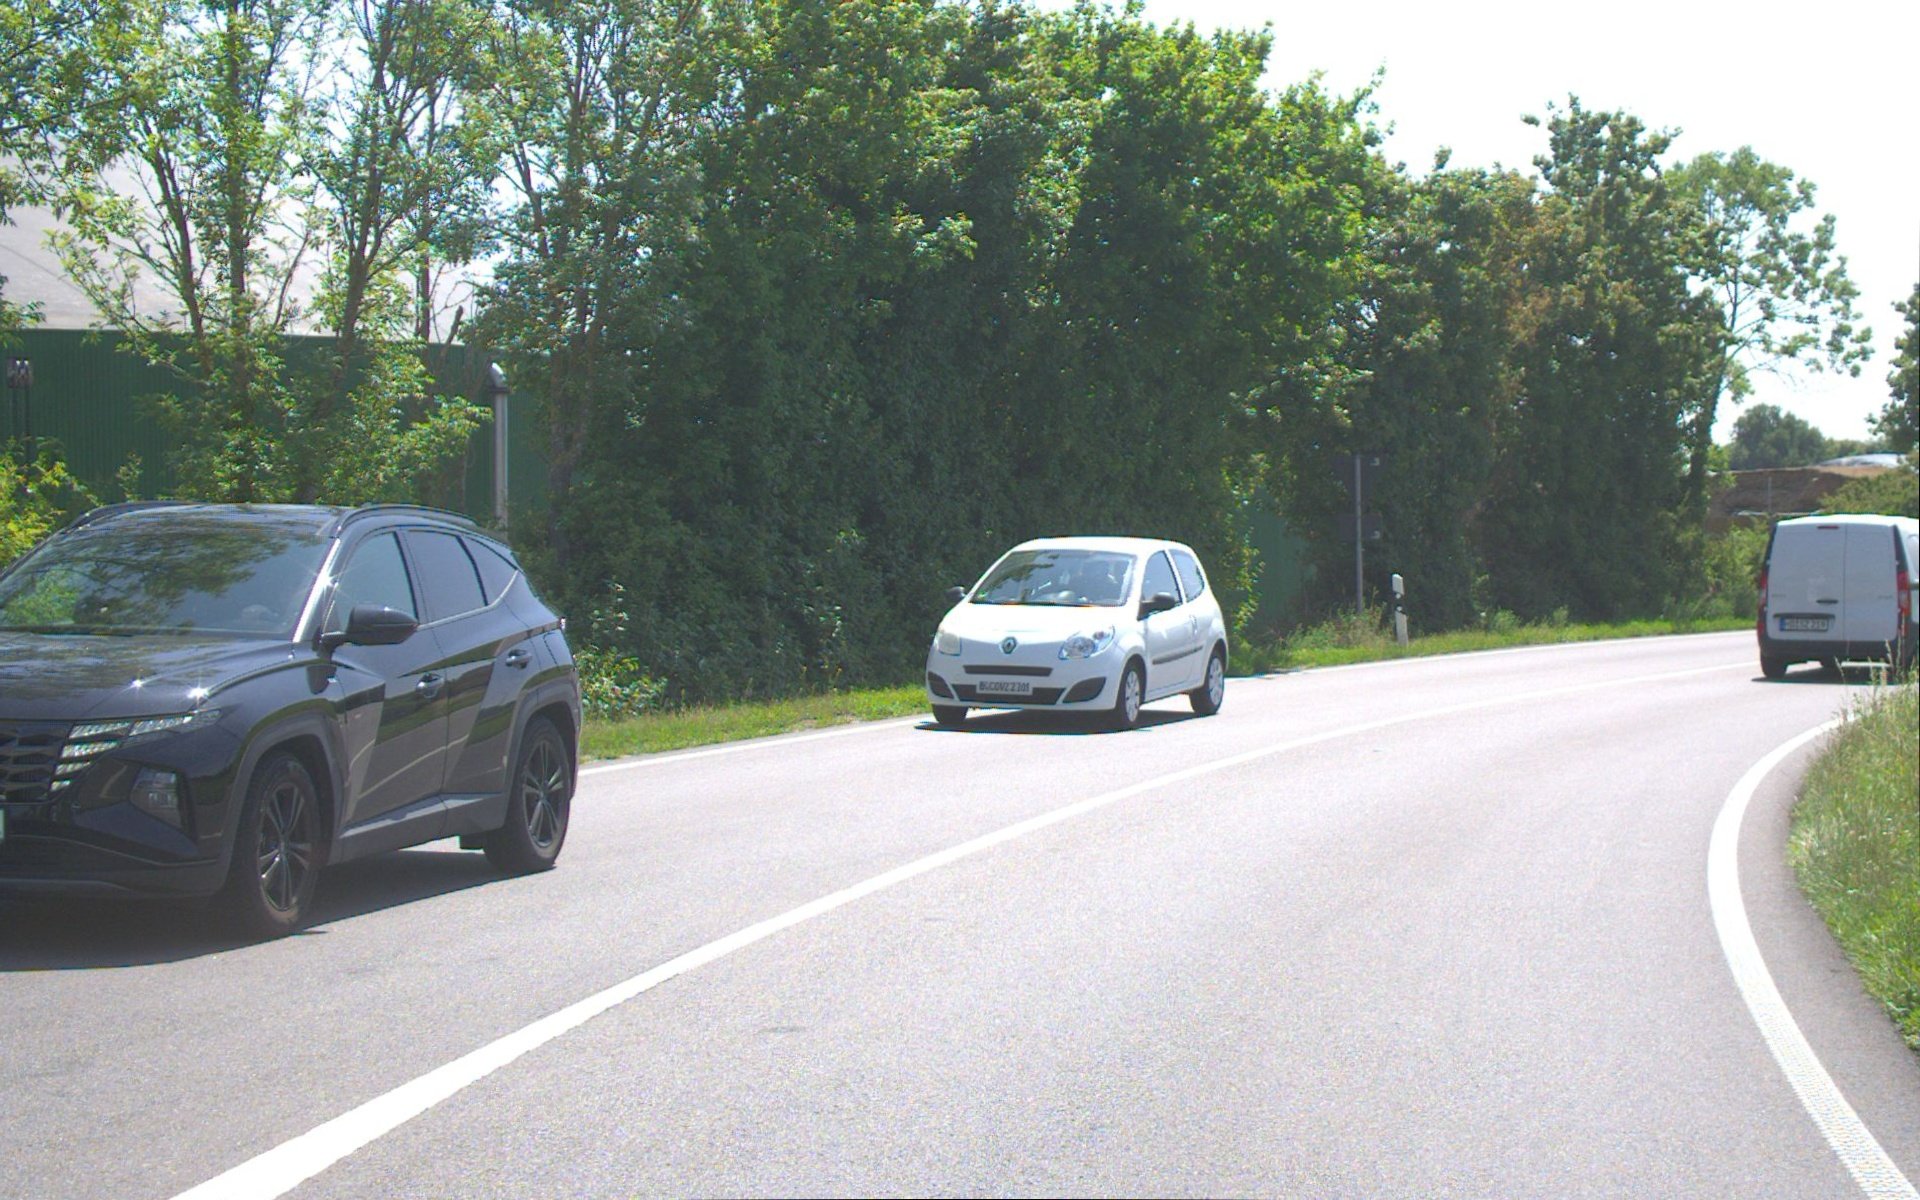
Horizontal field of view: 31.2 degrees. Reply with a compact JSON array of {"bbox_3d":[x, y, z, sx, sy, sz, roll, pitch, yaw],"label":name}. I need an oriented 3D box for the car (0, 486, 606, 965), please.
[{"bbox_3d":[-2.971,0.382,14.043,1.703,1.632,4.247,1,1,13],"label":"car"}]

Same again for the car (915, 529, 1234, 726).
[{"bbox_3d":[0.995,0.199,27.815,1.538,1.438,3.604,2,1,19],"label":"car"}]

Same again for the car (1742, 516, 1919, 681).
[{"bbox_3d":[10.118,-0.016,38.311,1.906,1.726,3.817,-1,0,26],"label":"car"}]
